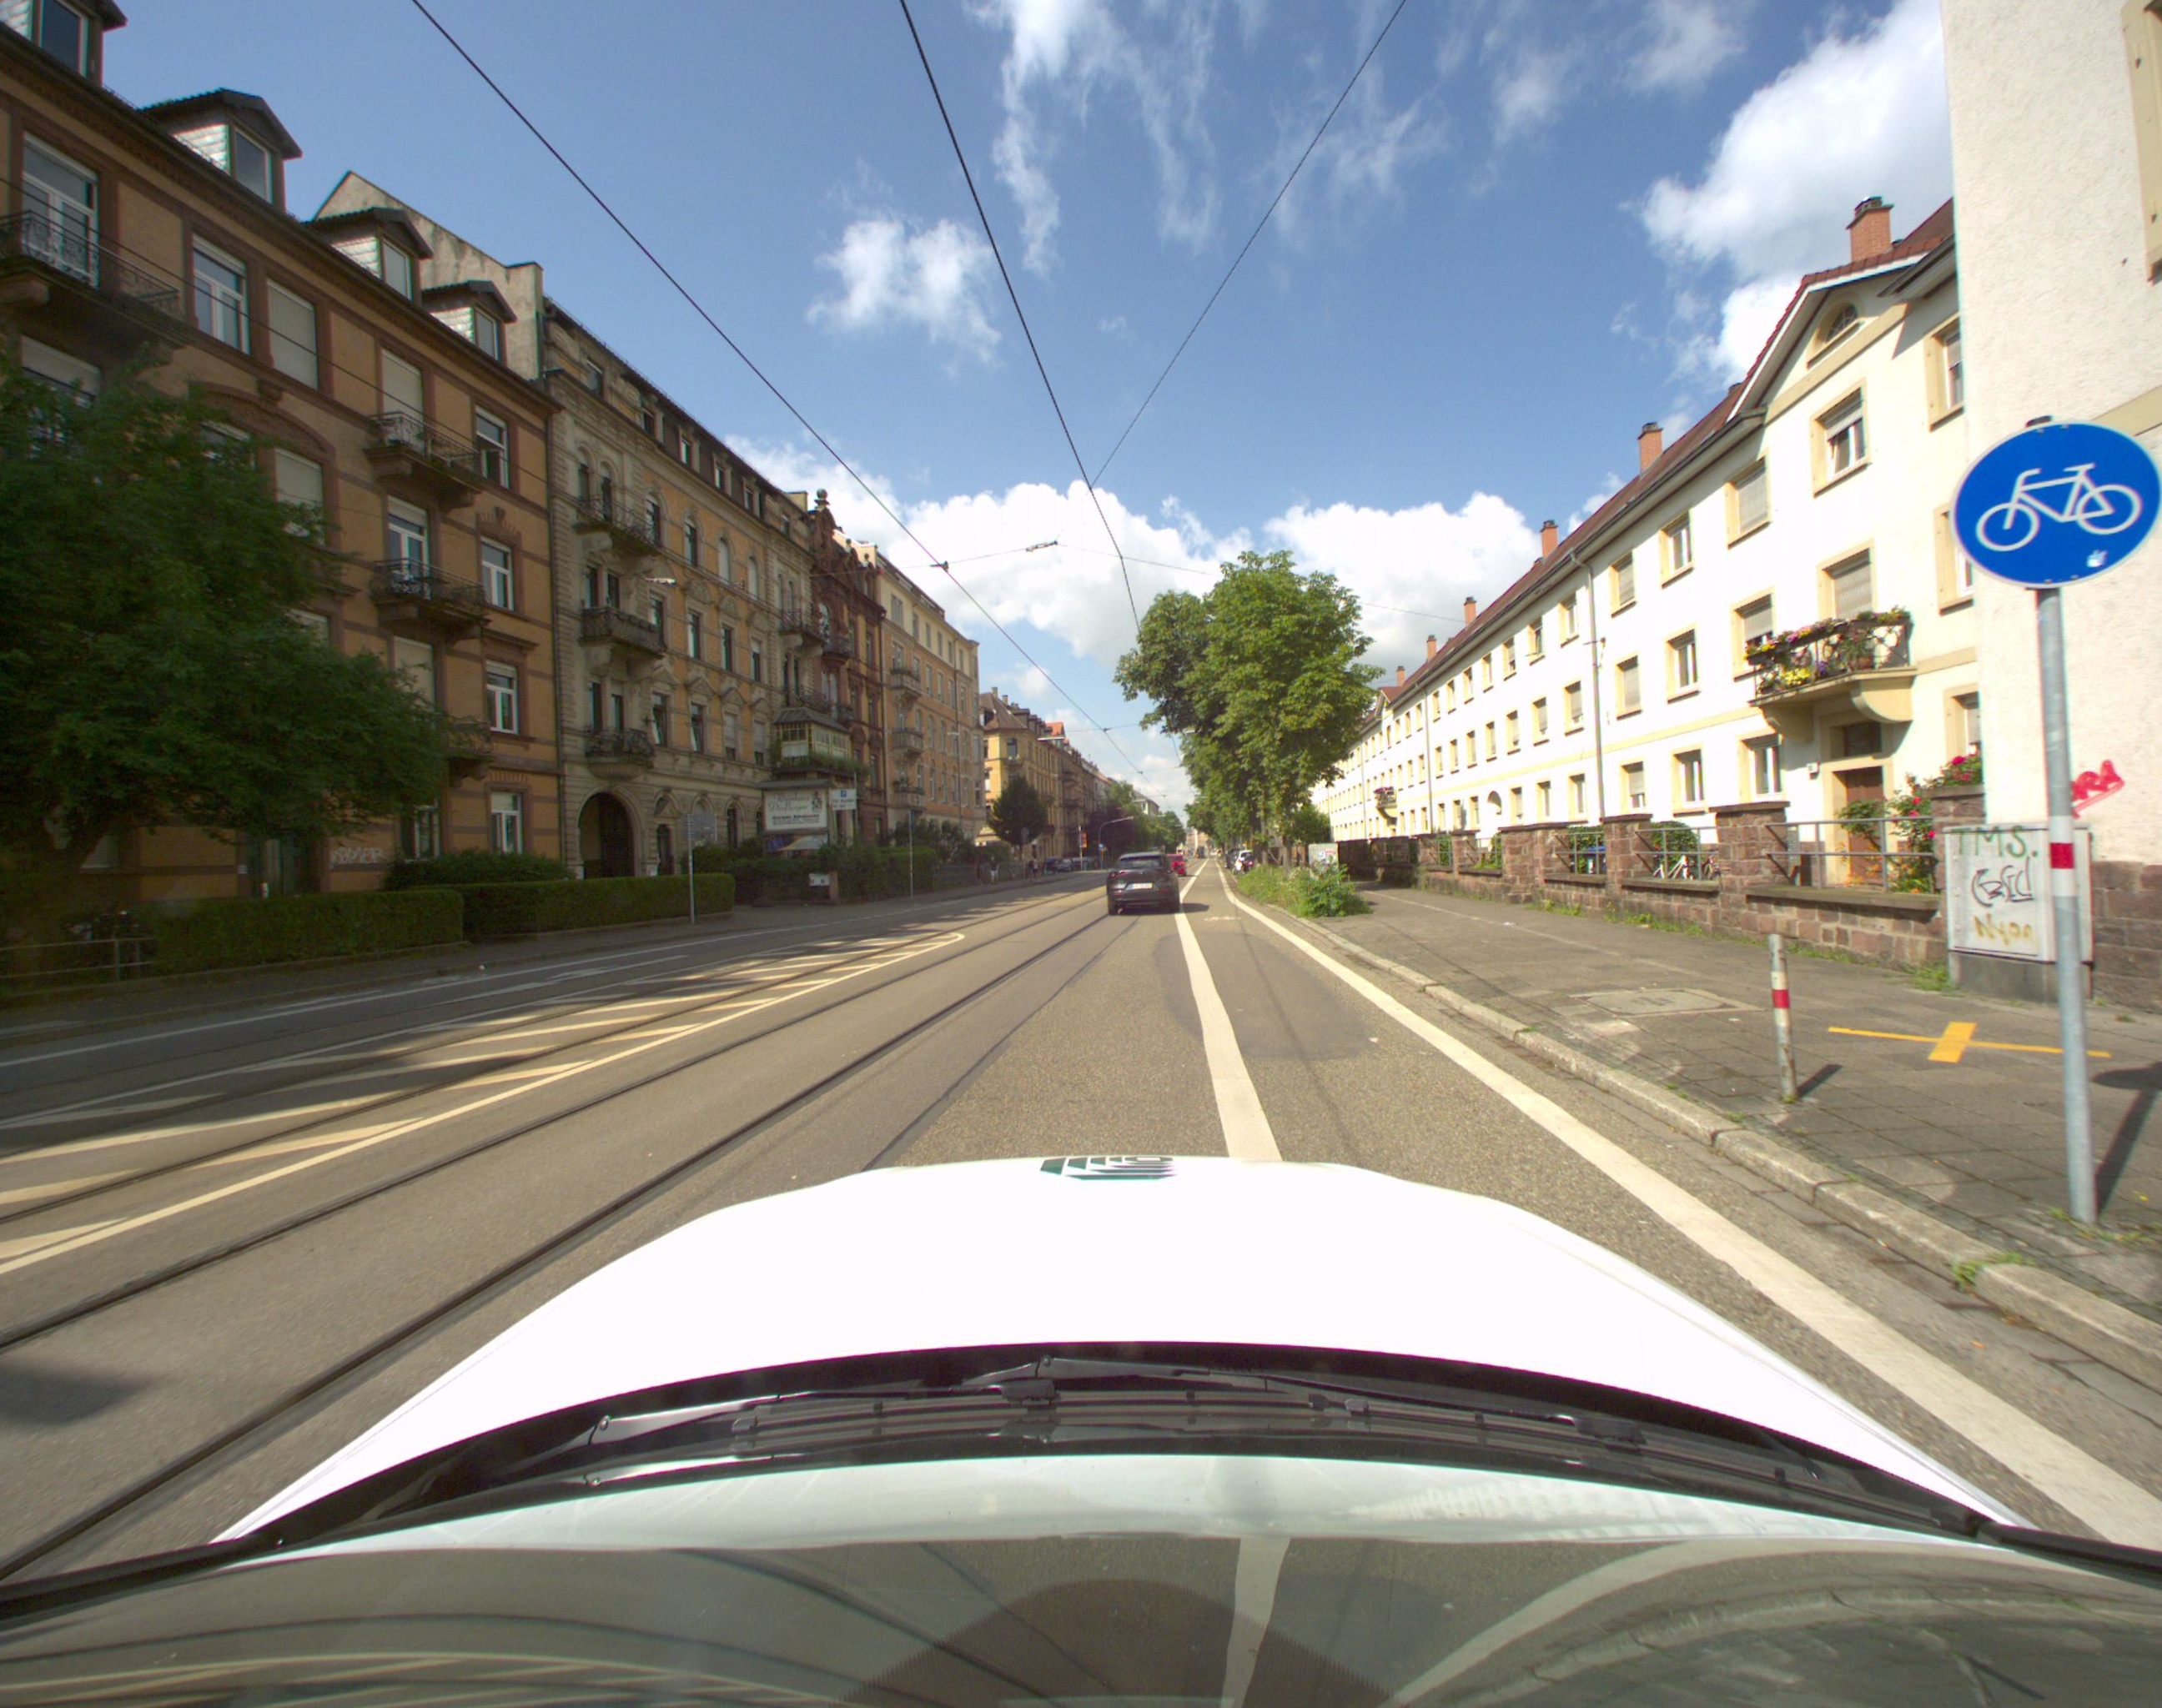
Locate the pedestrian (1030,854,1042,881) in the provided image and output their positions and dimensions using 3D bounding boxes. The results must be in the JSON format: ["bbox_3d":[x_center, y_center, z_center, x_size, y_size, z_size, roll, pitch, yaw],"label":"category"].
[{"bbox_3d":[-2.964,0.903,53.870,0.530,1.760,1.108,0,0,9],"label":"pedestrian"}]

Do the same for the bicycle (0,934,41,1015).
[{"bbox_3d":[-13.343,1.470,9.233,0.555,0.932,1.831,-3,0,12],"label":"bicycle"}]

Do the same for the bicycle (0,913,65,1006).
[{"bbox_3d":[-14.016,1.366,10.518,1.297,1.131,0.498,-2,0,7],"label":"bicycle"}]

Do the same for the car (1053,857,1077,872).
[{"bbox_3d":[-1.715,1.097,88.265,1.675,1.459,4.777,-3,0,9],"label":"car"}]

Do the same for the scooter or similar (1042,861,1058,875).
[{"bbox_3d":[-2.772,1.283,73.166,1.366,1.235,0.401,-2,-1,-20],"label":"scooter or similar"}]

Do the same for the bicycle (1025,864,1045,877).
[{"bbox_3d":[-3.645,1.289,64.613,1.444,0.976,0.405,-3,0,9],"label":"bicycle"}]

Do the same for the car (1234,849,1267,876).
[{"bbox_3d":[10.442,0.502,50.341,1.732,1.581,4.259,-2,0,8],"label":"car"}]

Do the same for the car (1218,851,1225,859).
[{"bbox_3d":[35.078,0.197,203.569,1.710,1.968,4.219,-3,0,10],"label":"car"}]

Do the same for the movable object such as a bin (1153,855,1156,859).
[{"bbox_3d":[16.042,0.639,177.954,0.740,0.988,1.117,0,0,9],"label":"movable object such as a bin"}]

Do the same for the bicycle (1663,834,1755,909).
[{"bbox_3d":[10.710,0.285,13.945,0.502,1.200,1.493,-2,0,6],"label":"bicycle"}]

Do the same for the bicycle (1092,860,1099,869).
[{"bbox_3d":[1.708,1.241,94.533,0.527,0.946,1.973,-3,0,9],"label":"bicycle"}]

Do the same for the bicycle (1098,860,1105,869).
[{"bbox_3d":[2.522,1.269,98.190,0.527,0.946,1.973,-3,0,9],"label":"bicycle"}]

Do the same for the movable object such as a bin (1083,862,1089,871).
[{"bbox_3d":[0.597,1.376,90.215,0.522,0.906,0.637,-3,-1,8],"label":"movable object such as a bin"}]

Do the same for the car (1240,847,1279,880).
[{"bbox_3d":[9.113,0.471,41.853,1.651,1.521,4.298,-2,0,8],"label":"car"}]

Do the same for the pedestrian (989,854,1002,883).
[{"bbox_3d":[-5.177,0.877,49.315,0.485,1.703,1.153,-2,0,7],"label":"pedestrian"}]

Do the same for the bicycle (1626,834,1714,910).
[{"bbox_3d":[10.007,0.291,13.897,0.502,1.200,1.493,-2,0,6],"label":"bicycle"}]

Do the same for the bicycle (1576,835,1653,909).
[{"bbox_3d":[9.307,0.297,14.258,0.502,1.200,1.494,-2,0,8],"label":"bicycle"}]

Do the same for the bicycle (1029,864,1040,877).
[{"bbox_3d":[-3.570,1.275,62.620,0.419,0.976,1.954,-3,0,9],"label":"bicycle"}]

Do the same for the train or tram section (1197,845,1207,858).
[{"bbox_3d":[35.738,-0.698,241.540,2.558,3.772,13.052,-3,0,7],"label":"train or tram section"}]

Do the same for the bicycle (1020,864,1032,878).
[{"bbox_3d":[-4.073,1.265,60.074,0.419,0.976,1.954,-3,0,9],"label":"bicycle"}]

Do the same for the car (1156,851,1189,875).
[{"bbox_3d":[6.079,0.590,53.865,1.982,1.529,4.010,0,0,9],"label":"car"}]

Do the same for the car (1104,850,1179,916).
[{"bbox_3d":[1.661,0.698,21.364,1.711,1.526,3.596,-3,0,7],"label":"car"}]

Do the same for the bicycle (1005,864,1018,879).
[{"bbox_3d":[-4.731,1.203,55.653,0.419,0.932,1.954,-3,0,9],"label":"bicycle"}]

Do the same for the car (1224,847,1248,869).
[{"bbox_3d":[13.490,0.292,71.191,1.816,1.782,4.745,-3,0,9],"label":"car"}]

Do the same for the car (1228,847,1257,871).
[{"bbox_3d":[12.154,0.332,61.497,1.852,1.653,4.649,-3,0,9],"label":"car"}]

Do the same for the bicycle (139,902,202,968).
[{"bbox_3d":[-16.620,1.461,14.859,1.292,1.131,0.500,-3,0,30],"label":"bicycle"}]
